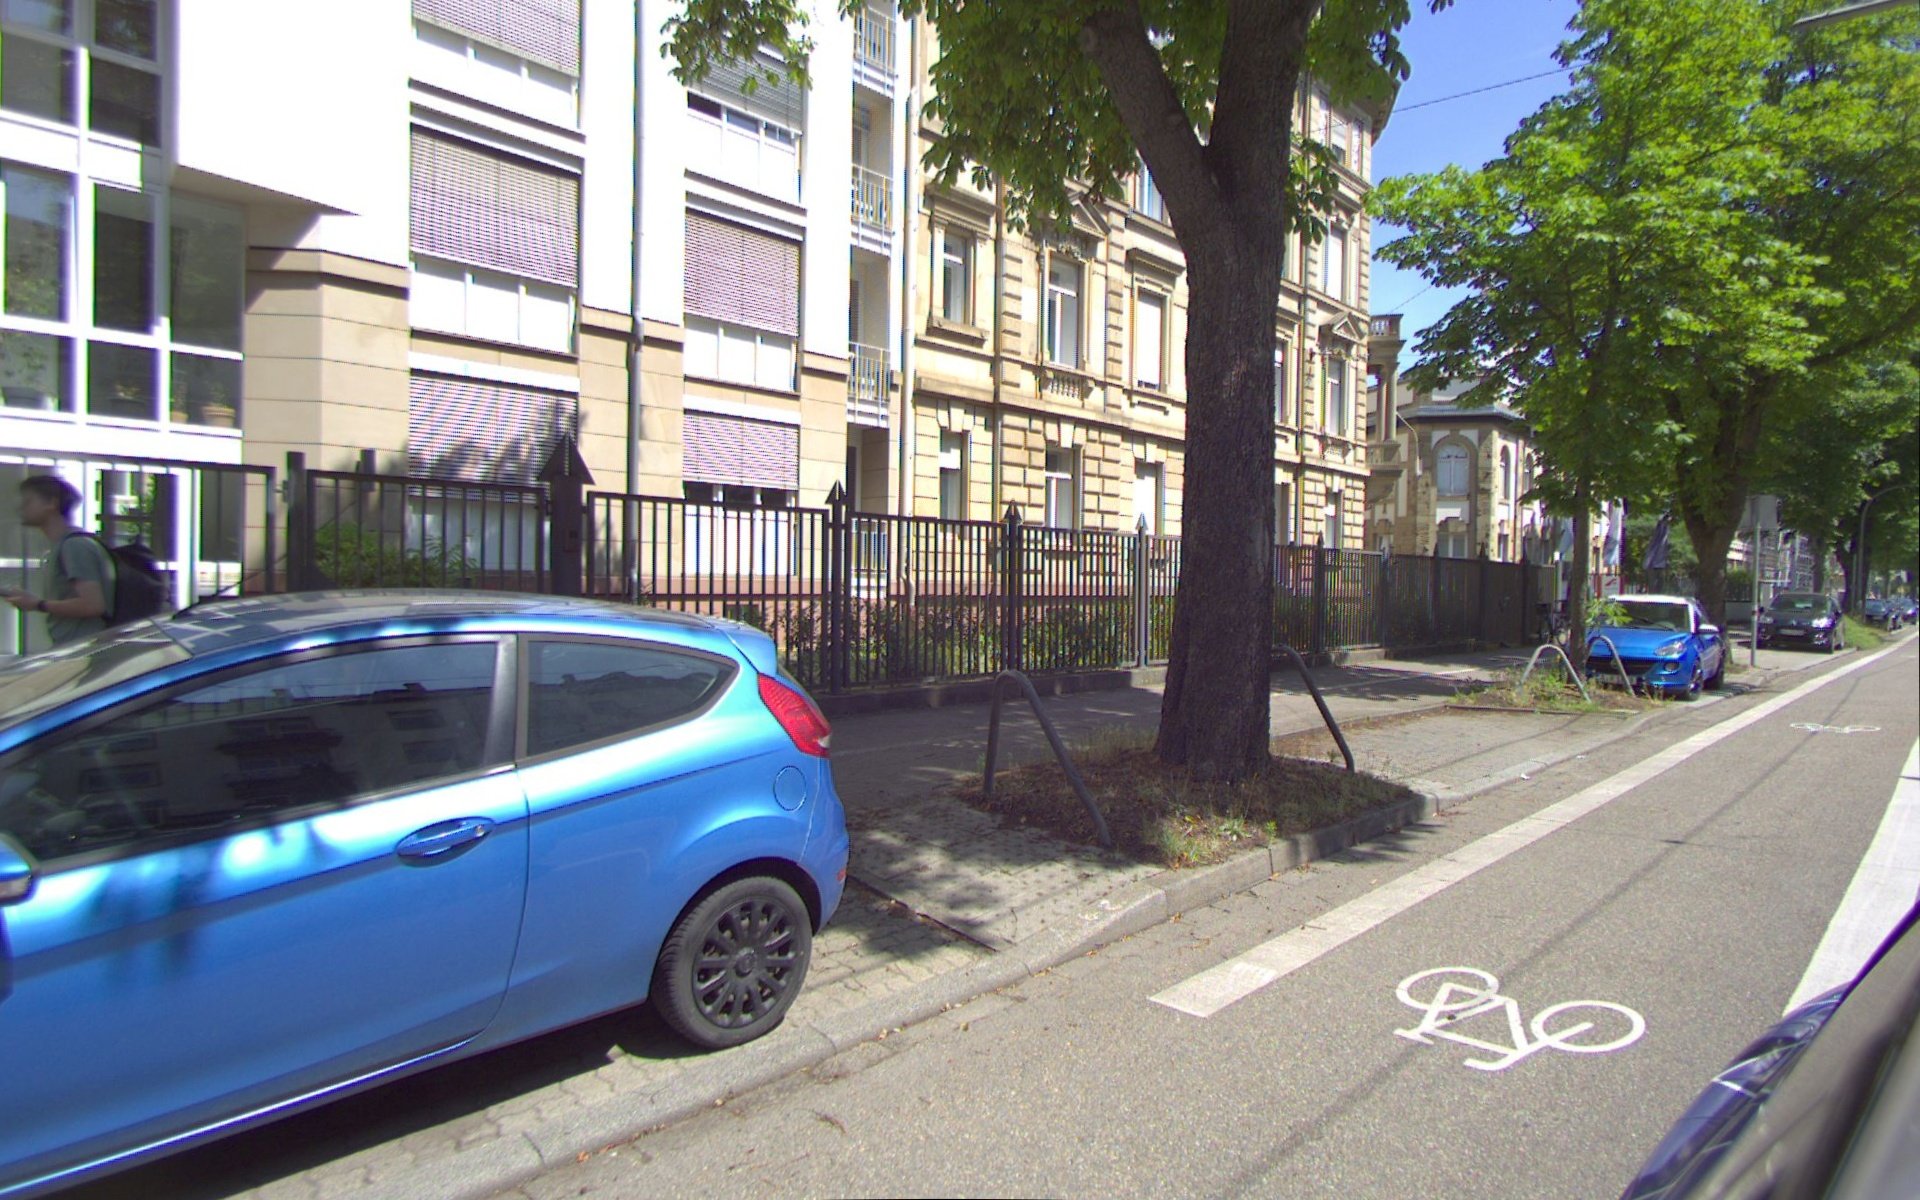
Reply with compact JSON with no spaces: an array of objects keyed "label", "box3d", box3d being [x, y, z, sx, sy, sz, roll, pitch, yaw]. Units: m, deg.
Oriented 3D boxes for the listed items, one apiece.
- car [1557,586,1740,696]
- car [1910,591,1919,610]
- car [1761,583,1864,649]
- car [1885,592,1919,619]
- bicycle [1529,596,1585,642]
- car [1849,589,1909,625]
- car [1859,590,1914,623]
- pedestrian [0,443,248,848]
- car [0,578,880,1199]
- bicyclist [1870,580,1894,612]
[{"label":"car","box3d":[10.675,0.549,15.615,3.417,1.471,1.692,0,2,-45]},{"label":"car","box3d":[77.033,0.080,80.677,3.934,1.420,1.624,0,4,-44]},{"label":"car","box3d":[24.098,0.397,28.569,4.016,1.635,1.732,0,3,-44]},{"label":"car","box3d":[53.102,0.291,56.638,3.934,1.420,1.624,0,4,-44]},{"label":"bicycle","box3d":[14.556,0.441,24.648,1.946,1.084,0.608,0,1,-42]},{"label":"car","box3d":[39.606,0.278,43.580,3.760,1.420,1.624,0,4,-44]},{"label":"car","box3d":[44.079,0.274,48.114,3.934,1.420,1.624,0,4,-44]},{"label":"pedestrian","box3d":[-4.276,0.195,5.066,1.066,1.820,0.685,0,1,-44]},{"label":"car","box3d":[-2.180,0.683,2.994,3.660,1.461,1.678,0,2,-45]},{"label":"bicyclist","box3d":[58.052,-0.265,63.711,0.758,2.039,0.809,1,1,-7]}]
